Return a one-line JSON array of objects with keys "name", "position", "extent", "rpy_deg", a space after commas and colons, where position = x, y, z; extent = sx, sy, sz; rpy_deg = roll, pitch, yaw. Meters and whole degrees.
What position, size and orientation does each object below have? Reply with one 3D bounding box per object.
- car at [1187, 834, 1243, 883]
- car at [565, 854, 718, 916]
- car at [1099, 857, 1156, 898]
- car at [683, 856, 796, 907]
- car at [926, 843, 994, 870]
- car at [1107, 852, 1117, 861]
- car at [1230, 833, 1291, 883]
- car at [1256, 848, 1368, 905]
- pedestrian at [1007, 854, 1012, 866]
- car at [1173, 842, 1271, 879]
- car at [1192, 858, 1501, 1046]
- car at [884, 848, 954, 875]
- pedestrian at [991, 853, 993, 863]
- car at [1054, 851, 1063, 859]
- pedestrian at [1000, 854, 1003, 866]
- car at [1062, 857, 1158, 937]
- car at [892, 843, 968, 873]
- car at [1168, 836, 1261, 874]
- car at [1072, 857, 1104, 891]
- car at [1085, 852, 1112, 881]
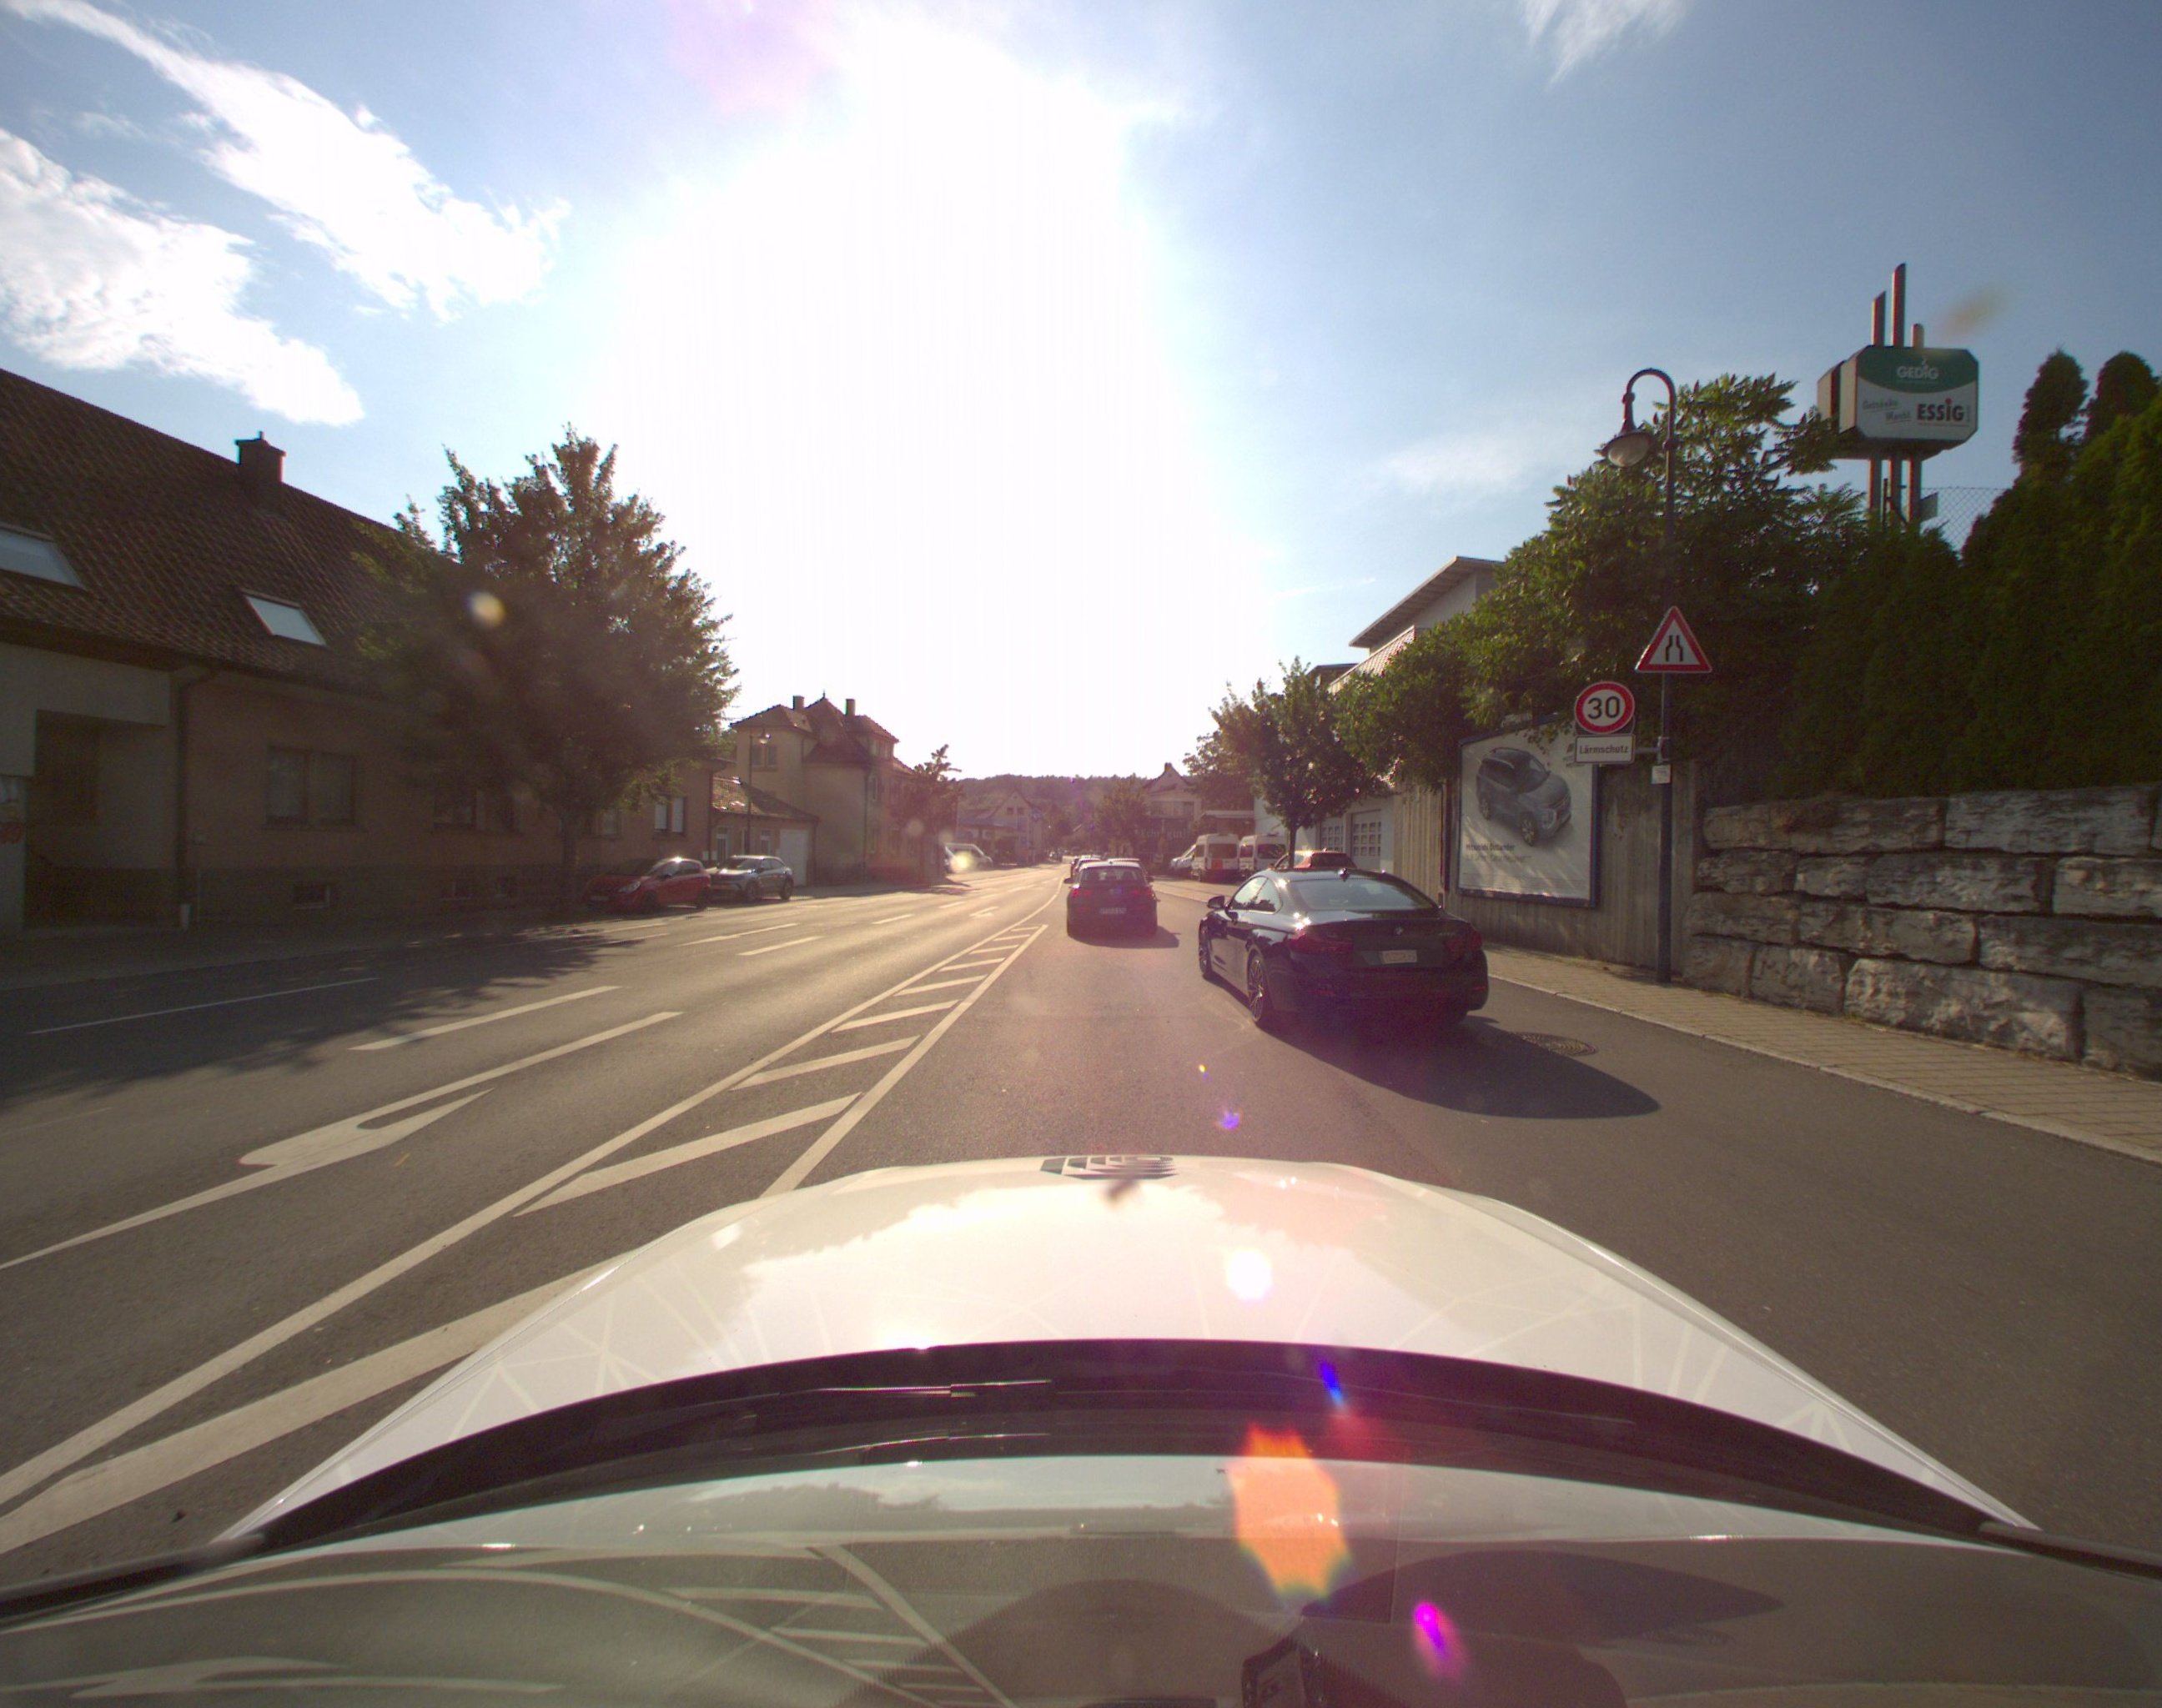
[{"name": "car", "position": [7.725, 0.245, 47.656], "extent": [2.143, 2.680, 6.601], "rpy_deg": [0, 0, -1]}, {"name": "car", "position": [-12.124, 0.806, 22.784], "extent": [1.657, 1.487, 4.008], "rpy_deg": [3, 0, 7]}, {"name": "car", "position": [1.699, 0.847, 30.806], "extent": [1.750, 1.414, 3.417], "rpy_deg": [0, 0, -4]}, {"name": "car", "position": [-11.515, 0.862, 27.763], "extent": [1.747, 1.479, 4.007], "rpy_deg": [3, 1, 6]}, {"name": "car", "position": [-11.694, 0.255, 79.155], "extent": [6.137, 2.444, 2.250], "rpy_deg": [1, 0, 0]}, {"name": "car", "position": [5.441, 0.478, 144.171], "extent": [1.592, 1.485, 3.474], "rpy_deg": [1, 0, 0]}, {"name": "car", "position": [10.446, 0.216, 47.871], "extent": [2.105, 2.722, 6.440], "rpy_deg": [0, 0, -1]}, {"name": "car", "position": [7.167, 0.660, 25.765], "extent": [1.832, 1.649, 4.528], "rpy_deg": [0, 0, -7]}, {"name": "pedestrian", "position": [-9.616, 0.779, 109.993], "extent": [0.609, 1.670, 0.442], "rpy_deg": [0, 0, -3]}, {"name": "car", "position": [9.050, 0.394, 52.560], "extent": [6.027, 2.363, 2.043], "rpy_deg": [0, 0, -2]}, {"name": "car", "position": [2.330, 0.756, 8.372], "extent": [1.695, 1.369, 4.259], "rpy_deg": [-1, 0, -2]}, {"name": "car", "position": [-12.661, 0.600, 63.700], "extent": [4.955, 1.999, 1.937], "rpy_deg": [1, 0, 3]}, {"name": "pedestrian", "position": [-11.878, 0.510, 108.829], "extent": [0.262, 1.383, 0.287], "rpy_deg": [0, 0, -11]}, {"name": "car", "position": [-4.387, 0.267, 157.295], "extent": [1.592, 1.485, 3.474], "rpy_deg": [1, 0, 0]}, {"name": "pedestrian", "position": [-10.699, 0.815, 110.099], "extent": [0.406, 1.547, 0.432], "rpy_deg": [0, 0, -2]}, {"name": "car", "position": [0.604, 0.805, 16.890], "extent": [1.765, 1.456, 3.517], "rpy_deg": [0, 0, 2]}, {"name": "car", "position": [-12.821, 0.323, 69.372], "extent": [5.892, 2.480, 2.197], "rpy_deg": [1, 0, 5]}, {"name": "car", "position": [9.033, 0.070, 55.511], "extent": [6.027, 2.516, 2.043], "rpy_deg": [0, 0, -2]}, {"name": "car", "position": [0.346, 0.994, 42.223], "extent": [1.587, 1.600, 3.892], "rpy_deg": [0, 1, -1]}, {"name": "car", "position": [1.139, 0.737, 51.714], "extent": [1.596, 1.767, 3.414], "rpy_deg": [0, 0, 3]}]
